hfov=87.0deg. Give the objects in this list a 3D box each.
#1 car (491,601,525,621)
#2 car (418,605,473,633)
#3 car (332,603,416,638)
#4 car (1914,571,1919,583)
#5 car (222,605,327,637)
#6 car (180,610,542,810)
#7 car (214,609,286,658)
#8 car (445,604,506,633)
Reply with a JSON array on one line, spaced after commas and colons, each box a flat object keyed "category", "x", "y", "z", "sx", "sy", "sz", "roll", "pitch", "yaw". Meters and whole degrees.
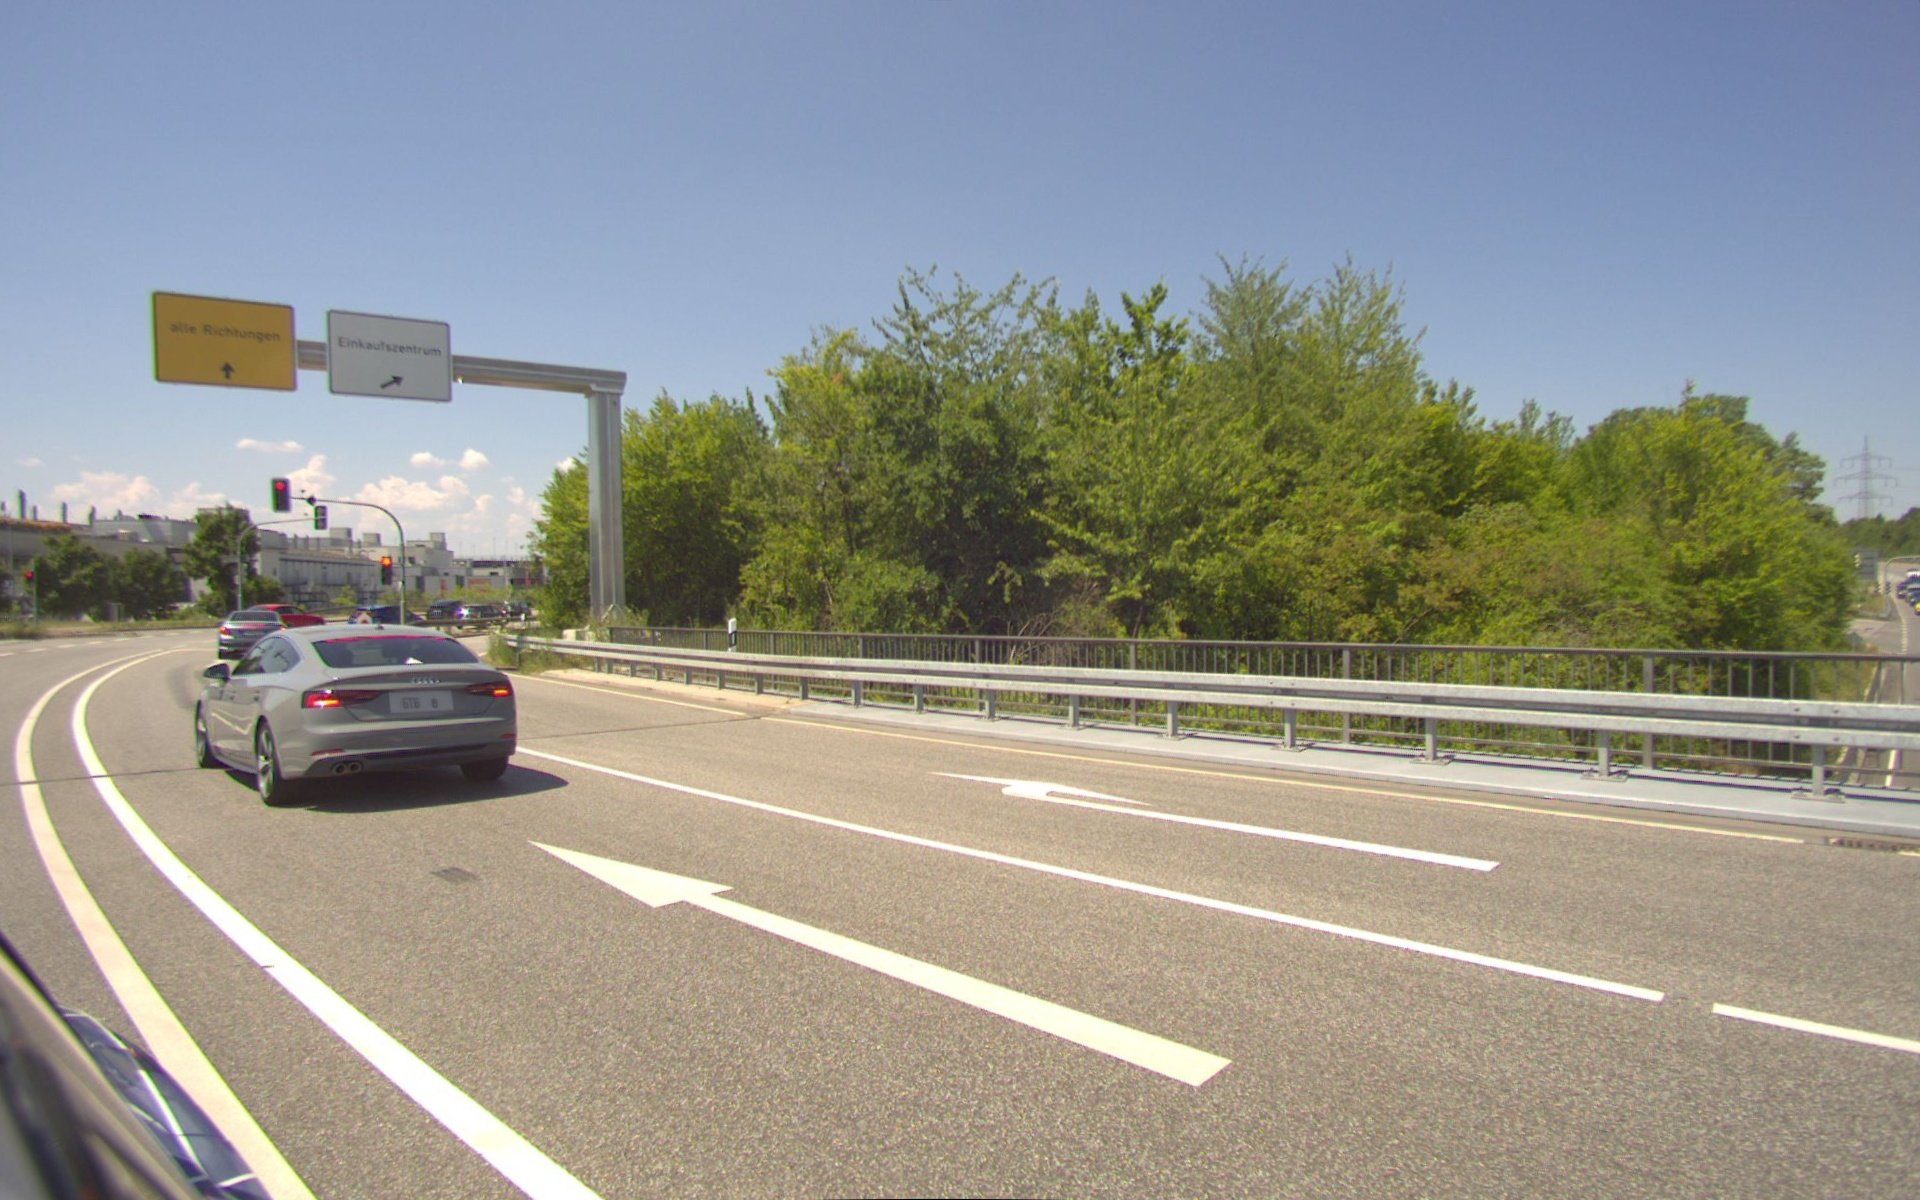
[{"category": "car", "x": -36.272, "y": 0.866, "z": 81.284, "sx": 1.599, "sy": 1.417, "sz": 3.307, "roll": 4, "pitch": 1, "yaw": -9}, {"category": "car", "x": -34.351, "y": 1.237, "z": 67.739, "sx": 1.851, "sy": 1.613, "sz": 4.514, "roll": 3, "pitch": 1, "yaw": -8}, {"category": "car", "x": -28.015, "y": 0.945, "z": 48.533, "sx": 1.687, "sy": 1.473, "sz": 4.494, "roll": 2, "pitch": 0, "yaw": -4}, {"category": "car", "x": 146.299, "y": -3.470, "z": 153.908, "sx": 1.804, "sy": 1.660, "sz": 3.590, "roll": 1, "pitch": 4, "yaw": 43}, {"category": "car", "x": -32.566, "y": 0.965, "z": 48.232, "sx": 1.646, "sy": 1.399, "sz": 4.440, "roll": 2, "pitch": 0, "yaw": 7}, {"category": "car", "x": -5.585, "y": 0.796, "z": 9.183, "sx": 4.283, "sy": 1.395, "sz": 1.759, "roll": -1, "pitch": -1, "yaw": 44}, {"category": "car", "x": -21.308, "y": 0.968, "z": 30.480, "sx": 1.623, "sy": 1.362, "sz": 3.979, "roll": 2, "pitch": -2, "yaw": -33}, {"category": "car", "x": -28.957, "y": 1.070, "z": 60.594, "sx": 1.757, "sy": 1.493, "sz": 4.434, "roll": 3, "pitch": 1, "yaw": -4}]
